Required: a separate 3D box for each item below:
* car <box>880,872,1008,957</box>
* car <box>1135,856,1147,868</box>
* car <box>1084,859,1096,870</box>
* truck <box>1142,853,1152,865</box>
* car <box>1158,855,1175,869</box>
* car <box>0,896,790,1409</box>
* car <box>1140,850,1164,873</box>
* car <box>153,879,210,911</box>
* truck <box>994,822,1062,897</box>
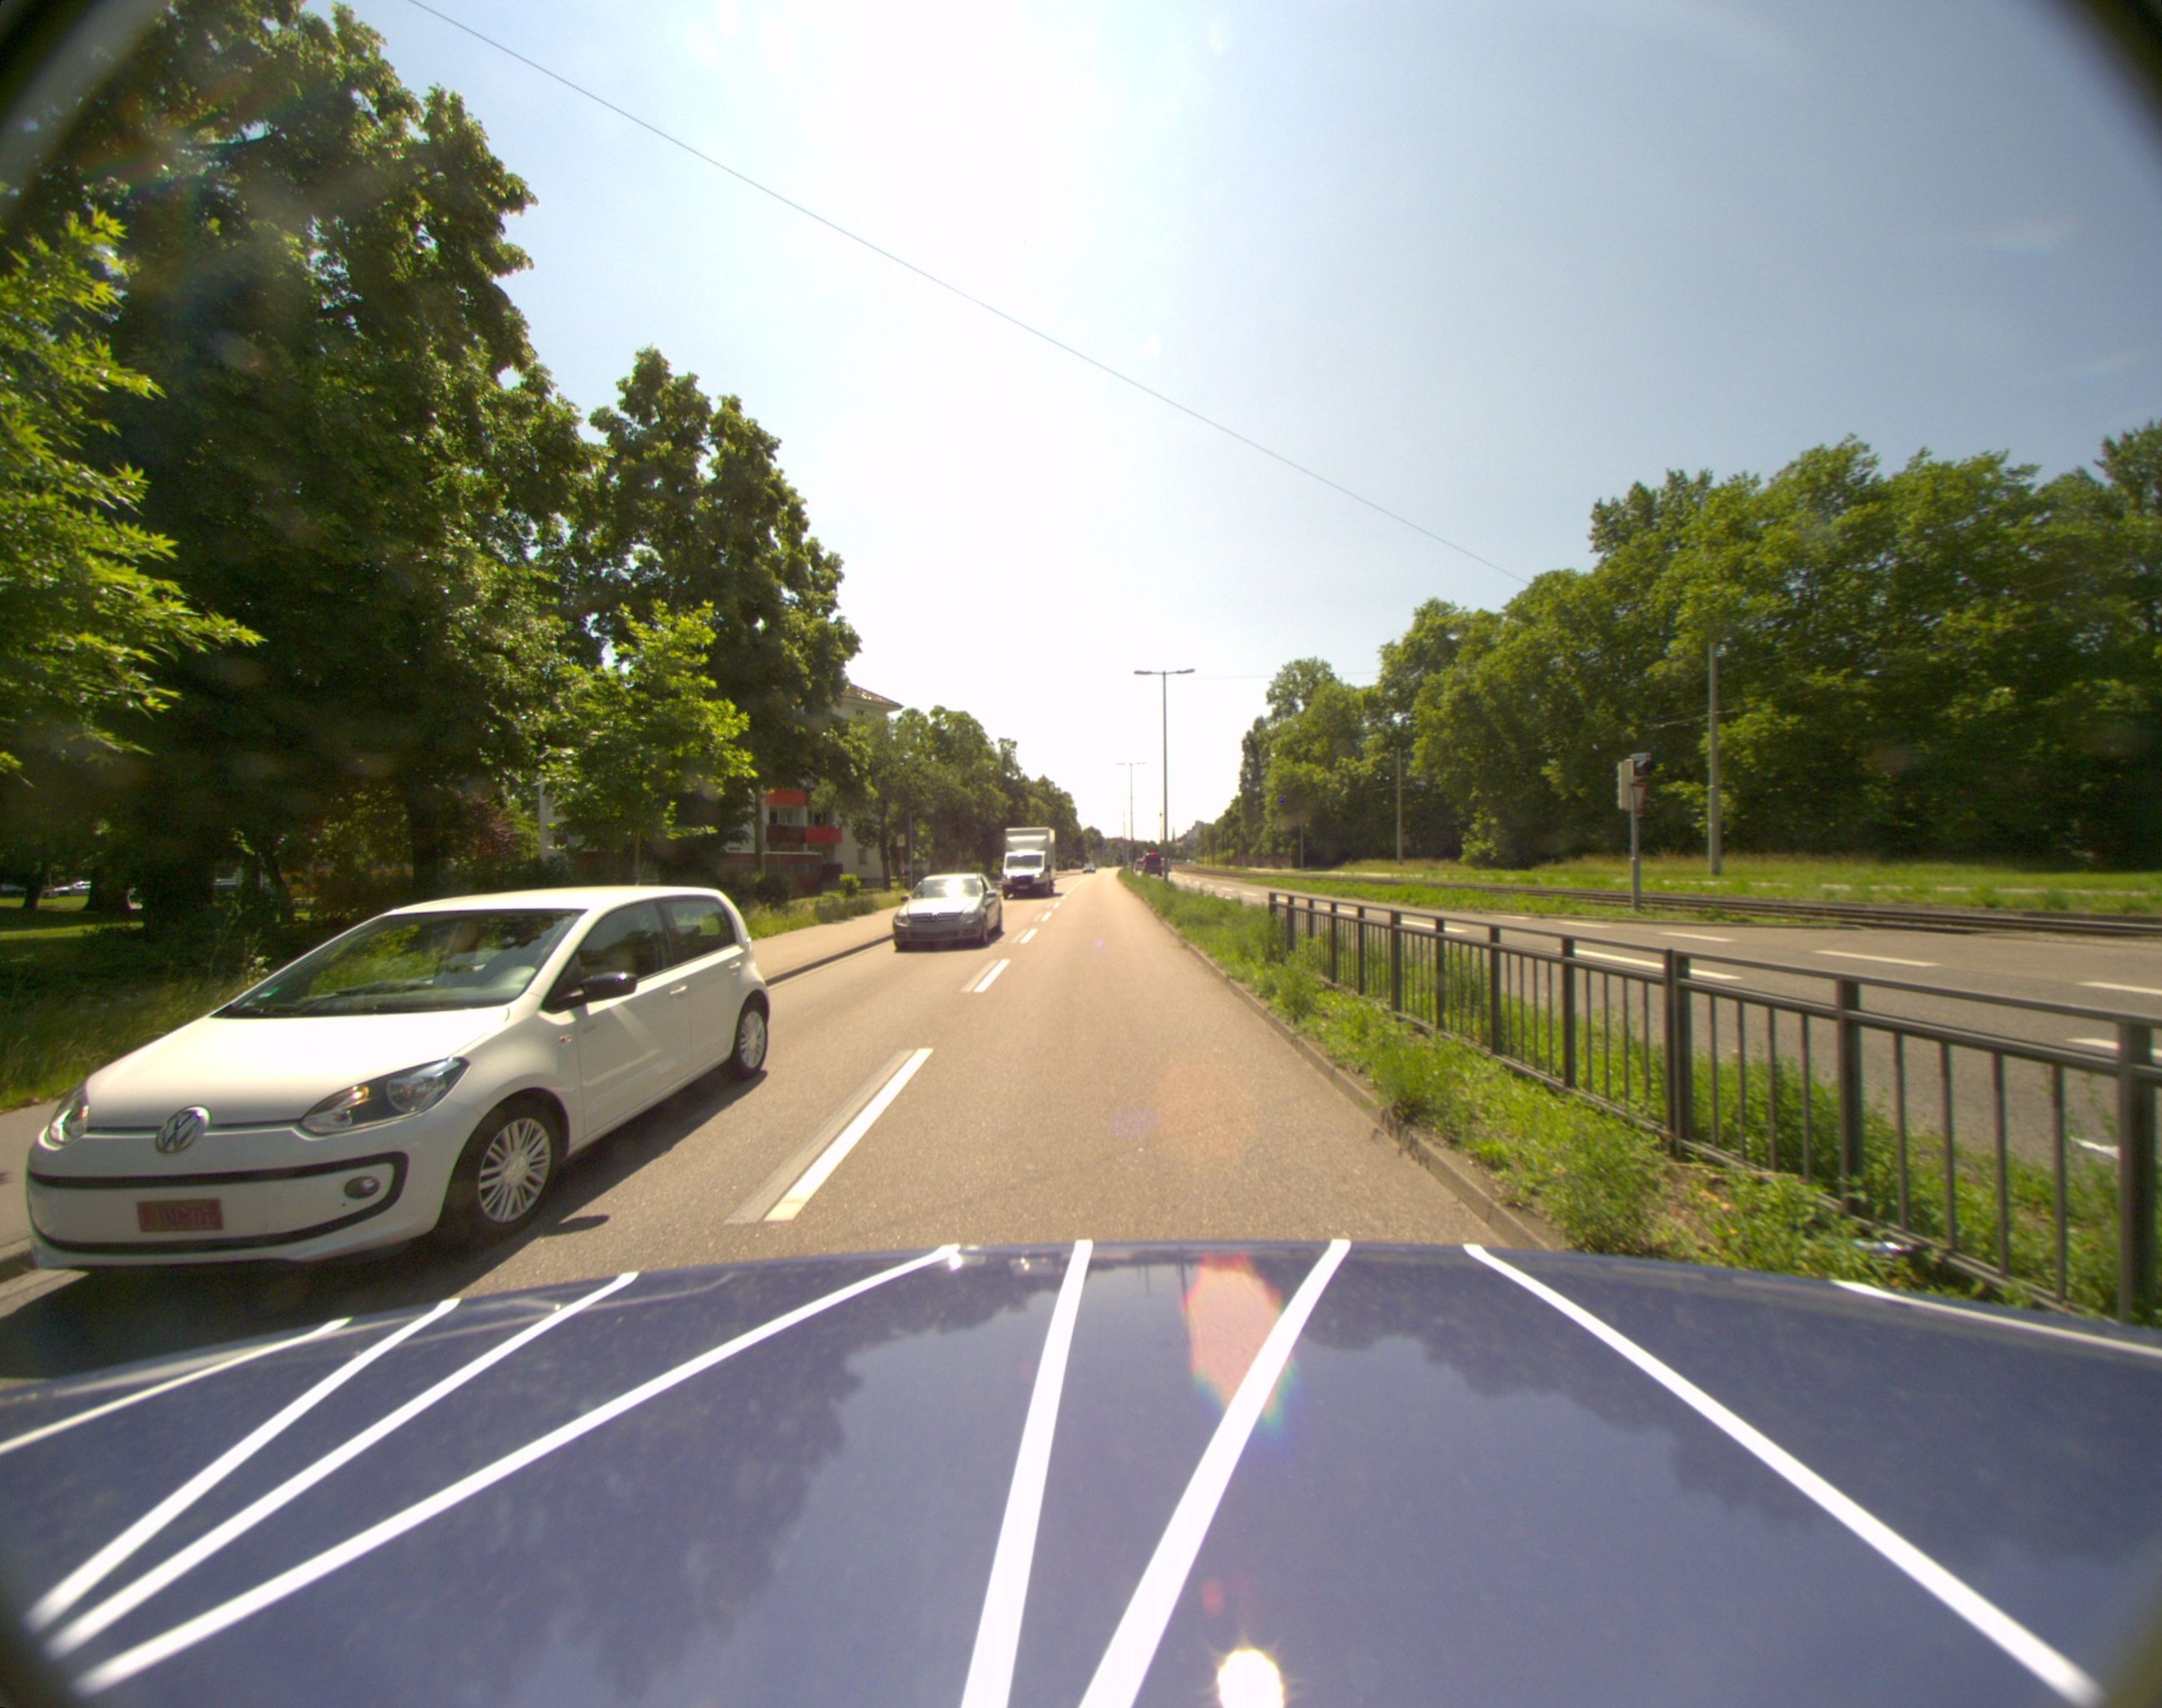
[{"bbox_3d":[-2.741,1.176,16.094,1.903,1.451,3.971,-3,-1,0],"label":"car"},{"bbox_3d":[9.046,1.191,114.506,1.834,1.895,5.568,0,0,4],"label":"car"},{"bbox_3d":[1.388,1.612,114.468,1.829,1.556,4.000,-2,0,1],"label":"car"},{"bbox_3d":[15.531,1.161,179.040,2.086,2.732,5.549,0,0,4],"label":"truck"},{"bbox_3d":[12.679,1.186,113.407,1.998,2.001,5.030,0,-1,0],"label":"car"},{"bbox_3d":[-3.281,1.093,4.412,1.663,1.441,3.854,-2,0,0],"label":"car"},{"bbox_3d":[7.410,0.768,79.809,1.998,2.352,5.373,0,0,0],"label":"car"},{"bbox_3d":[-52.324,2.352,44.258,3.915,1.714,1.880,-2,0,43],"label":"car"},{"bbox_3d":[-2.461,0.262,37.766,2.294,3.259,8.313,-2,0,3],"label":"truck"}]
